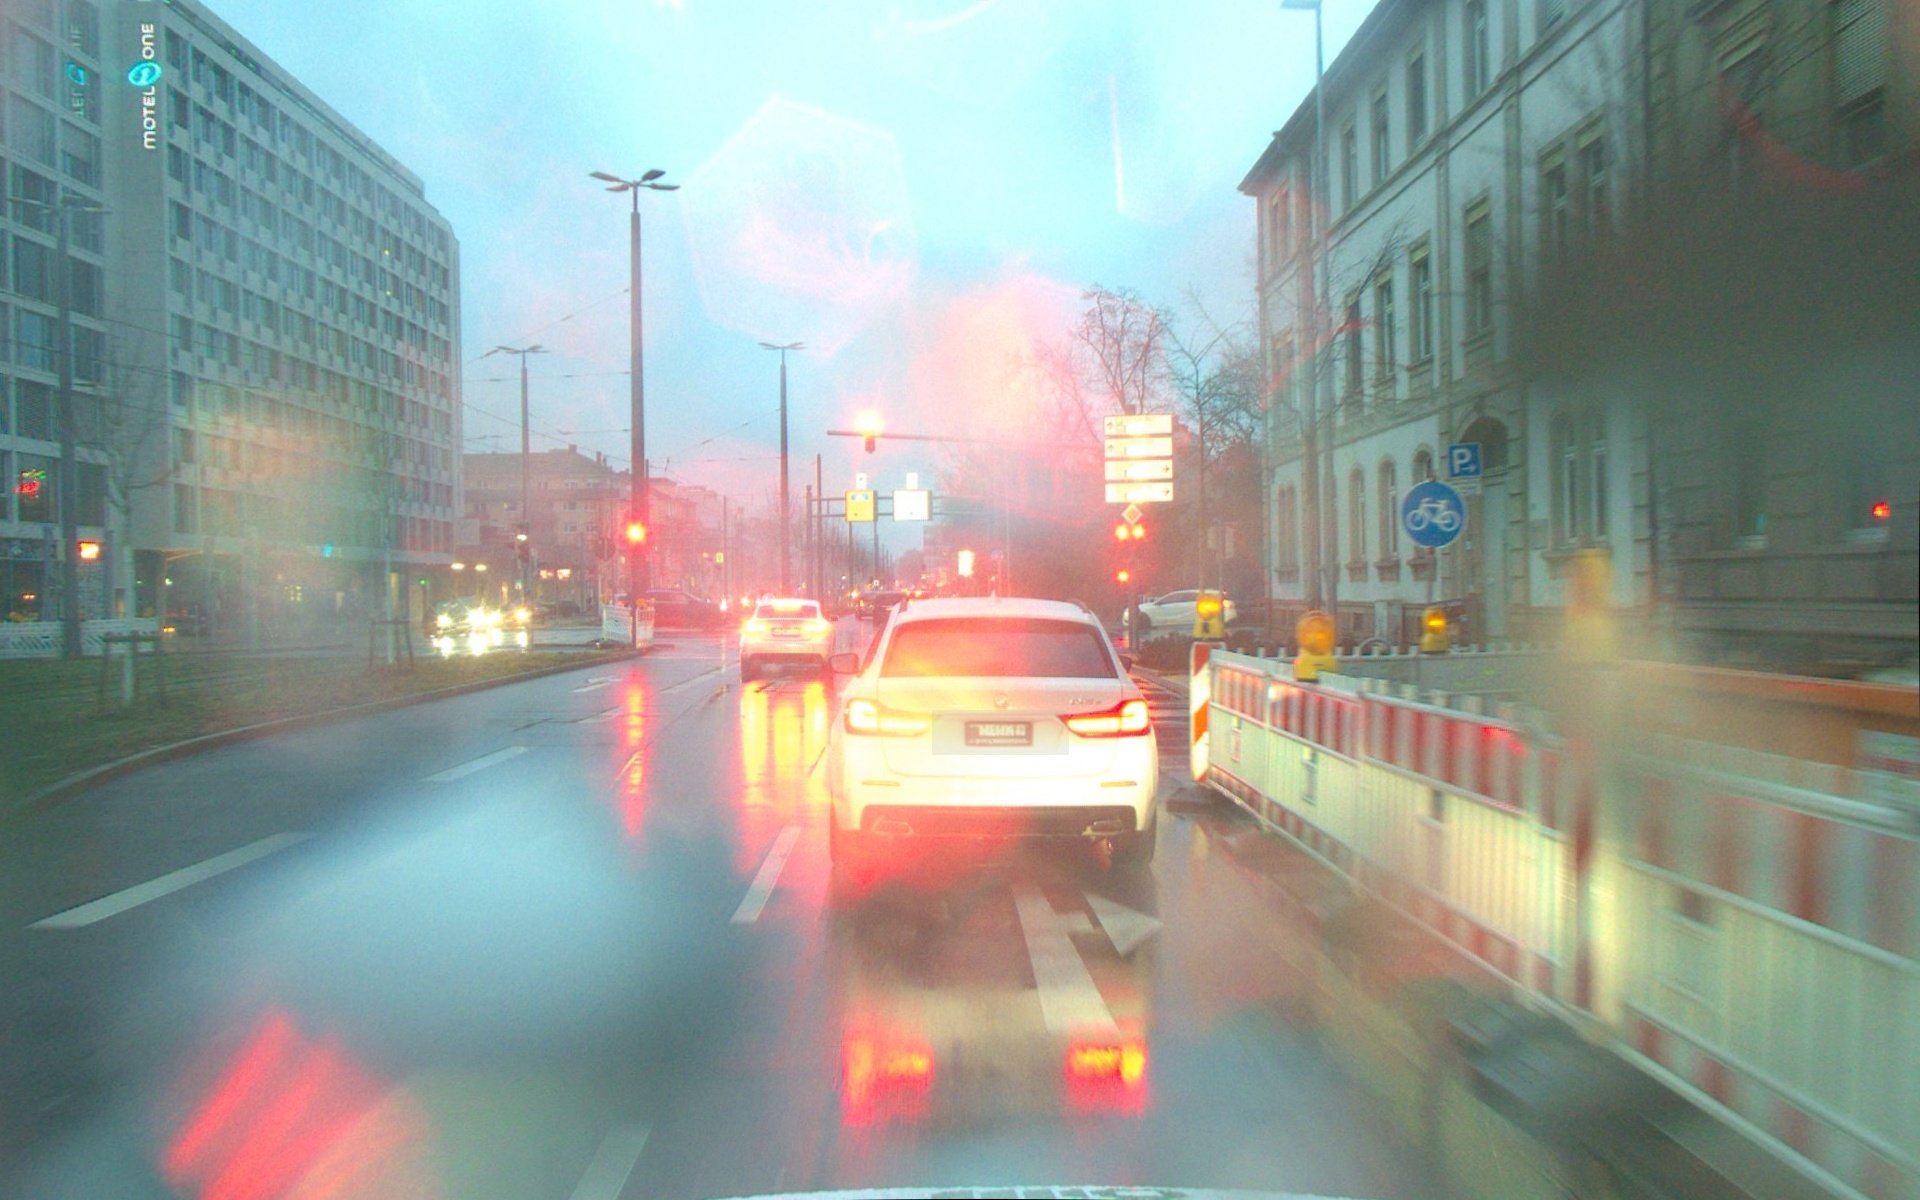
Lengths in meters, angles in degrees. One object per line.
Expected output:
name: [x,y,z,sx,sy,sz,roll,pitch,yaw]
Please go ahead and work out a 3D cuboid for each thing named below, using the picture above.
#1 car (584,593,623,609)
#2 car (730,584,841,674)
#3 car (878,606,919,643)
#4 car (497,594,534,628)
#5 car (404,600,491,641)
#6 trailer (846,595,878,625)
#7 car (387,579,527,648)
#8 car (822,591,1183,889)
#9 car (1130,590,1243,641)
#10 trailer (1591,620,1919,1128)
car: [-40.714,0.105,188.928,4.134,1.775,1.836,0,0,-8]
car: [-3.421,0.539,33.027,1.862,1.670,3.999,0,0,-1]
car: [-2.898,1.157,78.376,1.862,1.670,3.999,0,0,-1]
car: [-22.740,0.539,84.713,1.531,1.688,3.388,0,0,-10]
car: [-20.057,0.782,64.705,3.480,1.518,1.734,0,0,42]
trailer: [-5.677,0.558,95.793,1.798,1.672,3.997,0,0,-4]
car: [-15.141,0.405,49.745,3.928,2.010,1.988,0,0,-20]
car: [0.142,0.694,10.762,1.814,1.491,4.945,0,0,-2]
car: [8.415,0.549,61.354,3.903,1.829,1.852,0,0,18]
trailer: [3.597,0.789,5.202,1.813,1.369,3.527,-1,0,-1]
